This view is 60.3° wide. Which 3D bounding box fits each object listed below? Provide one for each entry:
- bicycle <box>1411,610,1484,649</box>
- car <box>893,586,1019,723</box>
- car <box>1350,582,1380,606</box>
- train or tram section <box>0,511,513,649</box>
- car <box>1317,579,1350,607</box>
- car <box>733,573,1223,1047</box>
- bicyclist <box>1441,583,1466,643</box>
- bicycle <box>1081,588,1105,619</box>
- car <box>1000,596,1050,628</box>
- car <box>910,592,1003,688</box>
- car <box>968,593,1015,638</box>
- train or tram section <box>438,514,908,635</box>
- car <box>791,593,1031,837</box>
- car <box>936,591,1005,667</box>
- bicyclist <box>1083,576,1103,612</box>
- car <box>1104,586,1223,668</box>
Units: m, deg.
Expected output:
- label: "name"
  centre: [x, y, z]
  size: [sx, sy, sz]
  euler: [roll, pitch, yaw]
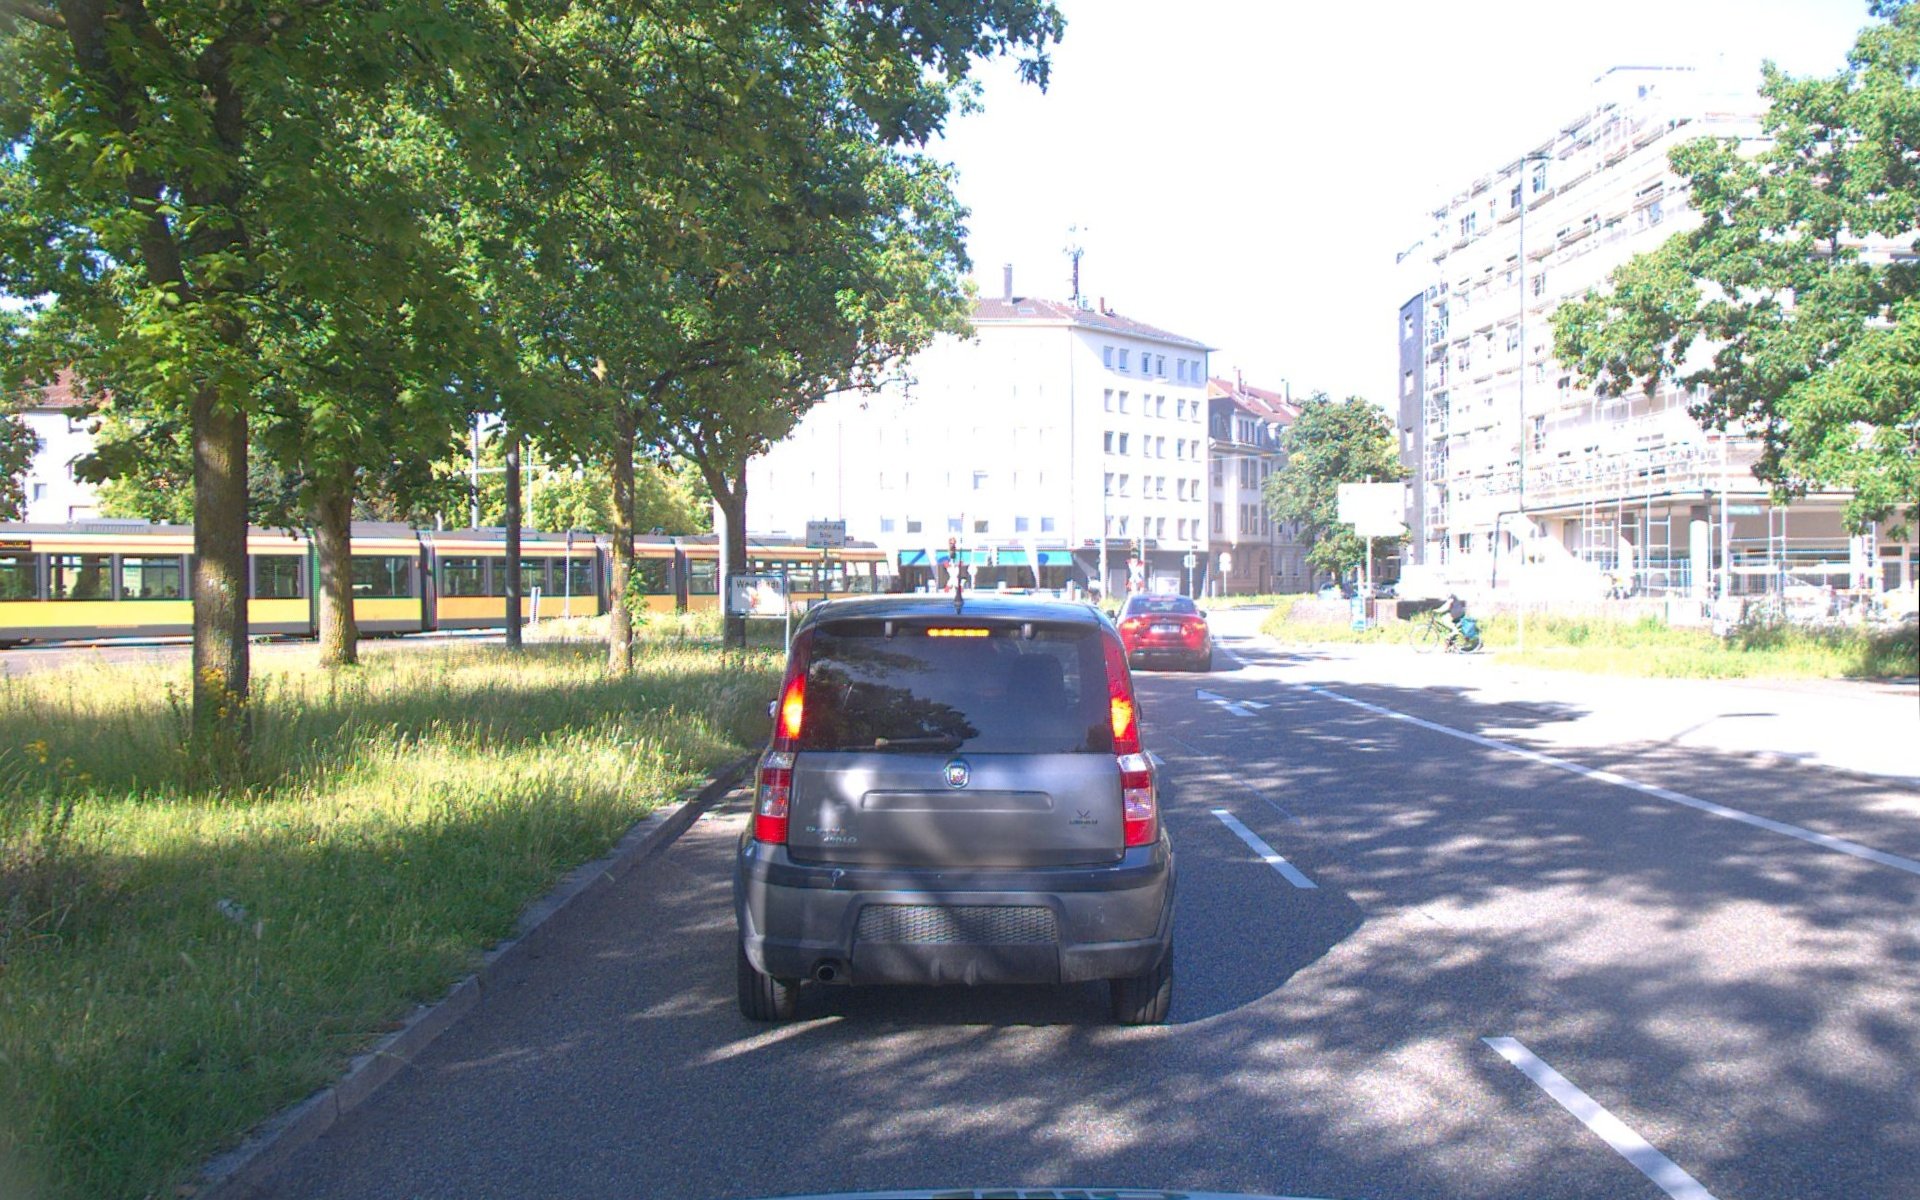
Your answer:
- label: "bicycle"
  centre: [12.367, 0.752, 42.021]
  size: [1.751, 0.961, 0.560]
  euler: [0, 0, 14]
- label: "car"
  centre: [-0.069, 0.605, 20.674]
  size: [1.434, 1.534, 3.504]
  euler: [0, 1, -1]
- label: "car"
  centre: [23.120, -0.341, 94.380]
  size: [1.495, 1.337, 3.289]
  euler: [0, 1, 17]
- label: "train or tram section"
  centre: [-22.401, -0.572, 47.354]
  size: [19.218, 3.574, 3.256]
  euler: [-1, 1, -42]
- label: "car"
  centre: [20.510, -0.396, 90.713]
  size: [1.646, 1.475, 3.574]
  euler: [0, 1, 15]
- label: "car"
  centre: [0.034, 0.662, 7.413]
  size: [1.595, 1.534, 3.999]
  euler: [0, 1, -1]
- label: "bicyclist"
  centre: [12.517, 0.324, 41.982]
  size: [0.571, 1.519, 0.551]
  euler: [0, 0, 14]
- label: "bicycle"
  centre: [5.423, 0.151, 67.596]
  size: [0.694, 1.219, 2.519]
  euler: [1, 0, -2]
- label: "car"
  centre: [2.289, 0.402, 57.703]
  size: [1.118, 1.083, 2.723]
  euler: [0, 1, 17]
- label: "car"
  centre: [-0.077, 0.610, 27.273]
  size: [1.434, 1.449, 3.381]
  euler: [0, 1, -1]
- label: "car"
  centre: [0.922, 0.444, 49.613]
  size: [1.328, 1.304, 2.875]
  euler: [0, 1, -1]
- label: "train or tram section"
  centre: [-9.647, -0.942, 61.596]
  size: [3.241, 3.836, 20.722]
  euler: [0, 1, 37]
- label: "car"
  centre: [-0.315, 0.683, 11.629]
  size: [1.434, 1.425, 3.393]
  euler: [0, 1, -1]
- label: "car"
  centre: [0.181, 0.557, 33.862]
  size: [1.328, 1.475, 3.265]
  euler: [0, 0, -1]
- label: "bicyclist"
  centre: [5.412, -0.232, 67.507]
  size: [0.726, 1.463, 0.845]
  euler: [1, 0, -1]
- label: "car"
  centre: [3.924, 0.474, 32.498]
  size: [1.848, 1.453, 4.387]
  euler: [0, 1, 1]
